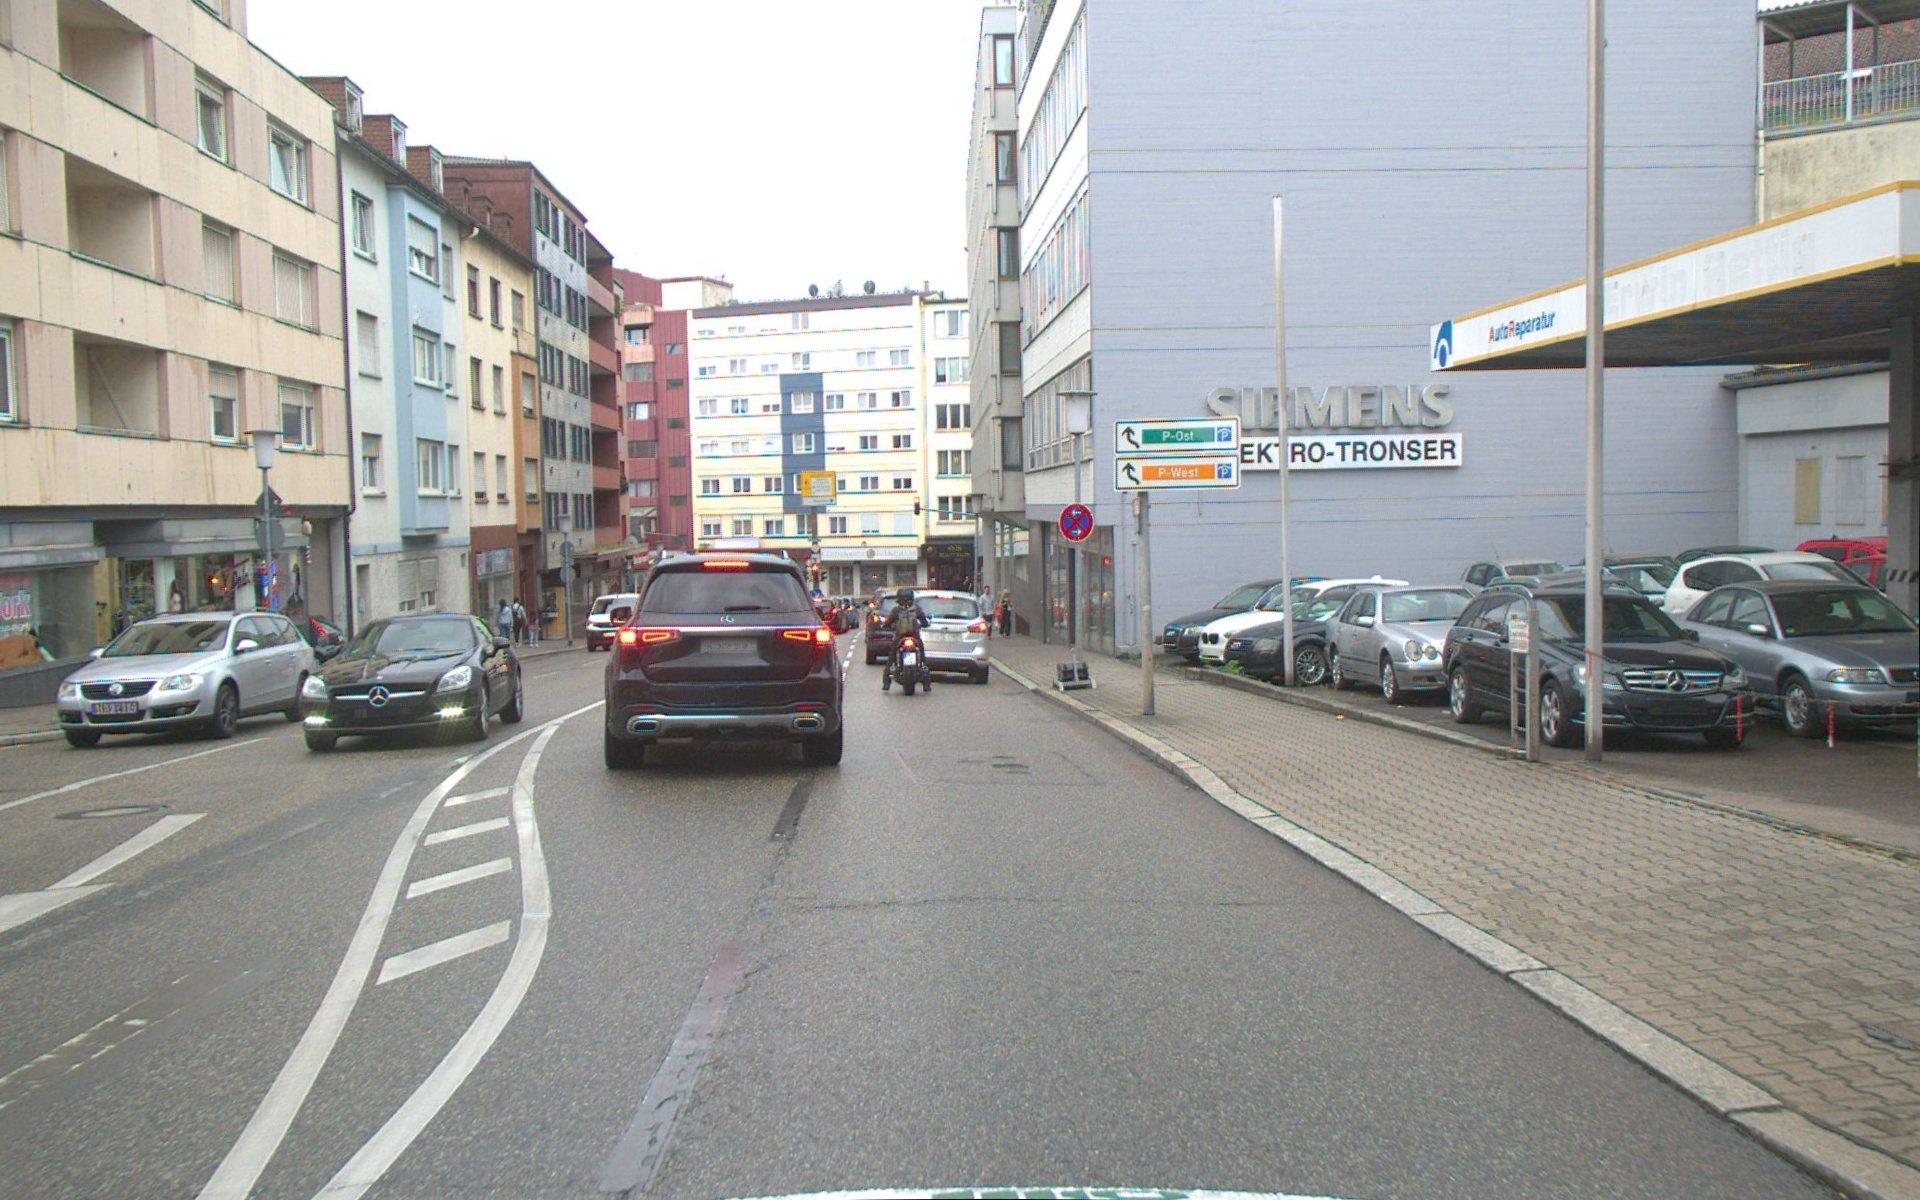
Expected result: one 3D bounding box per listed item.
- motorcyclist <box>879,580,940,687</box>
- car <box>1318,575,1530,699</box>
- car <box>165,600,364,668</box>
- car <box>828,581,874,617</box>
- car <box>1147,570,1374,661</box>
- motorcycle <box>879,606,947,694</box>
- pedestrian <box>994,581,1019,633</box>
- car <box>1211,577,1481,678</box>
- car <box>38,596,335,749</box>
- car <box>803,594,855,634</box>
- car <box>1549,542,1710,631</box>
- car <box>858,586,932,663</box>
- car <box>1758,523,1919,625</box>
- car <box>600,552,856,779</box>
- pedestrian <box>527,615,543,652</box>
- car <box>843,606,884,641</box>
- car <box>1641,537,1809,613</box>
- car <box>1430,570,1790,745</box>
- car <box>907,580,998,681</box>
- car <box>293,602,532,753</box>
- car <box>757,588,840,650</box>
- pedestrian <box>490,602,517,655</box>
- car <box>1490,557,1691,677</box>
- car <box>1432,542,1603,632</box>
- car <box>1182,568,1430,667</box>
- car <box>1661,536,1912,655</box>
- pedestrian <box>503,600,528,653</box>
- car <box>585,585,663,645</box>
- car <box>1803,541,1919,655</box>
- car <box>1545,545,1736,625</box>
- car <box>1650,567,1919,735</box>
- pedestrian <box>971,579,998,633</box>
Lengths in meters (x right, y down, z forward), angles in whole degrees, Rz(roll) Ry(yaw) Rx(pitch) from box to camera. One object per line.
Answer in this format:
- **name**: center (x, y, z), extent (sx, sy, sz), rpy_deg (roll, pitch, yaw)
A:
- **motorcyclist**: center (-0.776, 0.512, 25.152), extent (0.850, 1.587, 0.763), rpy_deg (-1, -1, -6)
- **car**: center (6.068, 0.437, 22.101), extent (1.534, 1.503, 4.068), rpy_deg (0, 0, -3)
- **car**: center (-16.299, 0.792, 38.916), extent (3.909, 1.525, 1.797), rpy_deg (0, -1, -5)
- **car**: center (-4.812, -0.047, 73.377), extent (1.847, 1.529, 4.398), rpy_deg (1, 0, -2)
- **car**: center (5.684, 0.312, 31.331), extent (3.930, 1.625, 1.787), rpy_deg (1, -1, -22)
- **motorcycle**: center (-0.738, 0.729, 25.098), extent (0.850, 1.207, 2.559), rpy_deg (-1, 1, -5)
- **pedestrian**: center (1.484, 0.218, 53.069), extent (0.703, 1.639, 0.610), rpy_deg (-1, 2, -6)
- **car**: center (6.118, 0.441, 26.247), extent (3.930, 1.521, 1.722), rpy_deg (1, -1, -22)
- **car**: center (-9.330, 0.813, 20.409), extent (1.710, 1.565, 4.638), rpy_deg (-3, 0, -4)
- **car**: center (-5.249, 0.528, 66.699), extent (1.847, 1.529, 4.398), rpy_deg (1, 0, -2)
- **car**: center (12.872, -0.225, 31.992), extent (1.422, 1.625, 3.386), rpy_deg (0, -1, -8)
- **car**: center (-1.458, 0.497, 36.294), extent (1.492, 1.575, 3.104), rpy_deg (-1, 1, -5)
- **car**: center (15.263, -0.386, 28.124), extent (1.422, 1.625, 3.386), rpy_deg (0, -1, -8)
- **car**: center (-2.014, 0.505, 15.421), extent (1.981, 1.770, 4.743), rpy_deg (1, 0, -5)
- **pedestrian**: center (-14.249, 1.112, 55.483), extent (0.417, 1.182, 0.586), rpy_deg (-1, 4, -6)
- **car**: center (-4.587, 1.104, 79.171), extent (1.847, 1.529, 4.398), rpy_deg (1, 0, -2)
- **car**: center (14.914, -0.444, 32.398), extent (1.424, 1.377, 3.348), rpy_deg (0, -1, -8)
- **car**: center (6.244, 0.475, 16.498), extent (1.760, 1.503, 4.484), rpy_deg (0, 0, -1)
- **car**: center (-0.178, 0.500, 29.747), extent (1.388, 1.679, 3.104), rpy_deg (-1, 1, -5)
- **car**: center (-5.771, 0.745, 17.924), extent (1.682, 1.340, 4.137), rpy_deg (-1, 1, -8)
- **car**: center (-4.188, 0.465, 43.472), extent (1.847, 1.529, 4.398), rpy_deg (1, 0, -2)
- **pedestrian**: center (-15.017, 0.941, 54.385), extent (0.725, 1.680, 0.605), rpy_deg (-1, 4, -6)
- **car**: center (8.647, 0.250, 22.951), extent (1.496, 1.539, 3.391), rpy_deg (0, -1, 0)
- **car**: center (10.686, -0.197, 31.977), extent (1.613, 1.625, 3.860), rpy_deg (0, -1, -8)
- **car**: center (6.010, 0.324, 28.756), extent (3.930, 1.625, 1.787), rpy_deg (1, -1, -22)
- **car**: center (11.477, -0.027, 23.224), extent (1.522, 1.539, 3.516), rpy_deg (0, -1, -6)
- **pedestrian**: center (-14.852, 0.884, 55.290), extent (0.658, 1.680, 0.605), rpy_deg (-1, 4, -6)
- **car**: center (-10.946, 0.445, 54.140), extent (1.833, 1.783, 4.396), rpy_deg (-3, 1, -4)
- **car**: center (13.574, -0.008, 23.223), extent (1.422, 1.539, 3.516), rpy_deg (0, -1, -6)
- **car**: center (11.156, -0.200, 27.339), extent (1.422, 1.223, 3.386), rpy_deg (0, -1, -8)
- **car**: center (8.819, 0.434, 16.982), extent (1.759, 1.503, 4.487), rpy_deg (0, 0, 3)
- **pedestrian**: center (0.775, 0.181, 52.197), extent (0.754, 1.639, 0.703), rpy_deg (-1, 2, -6)
